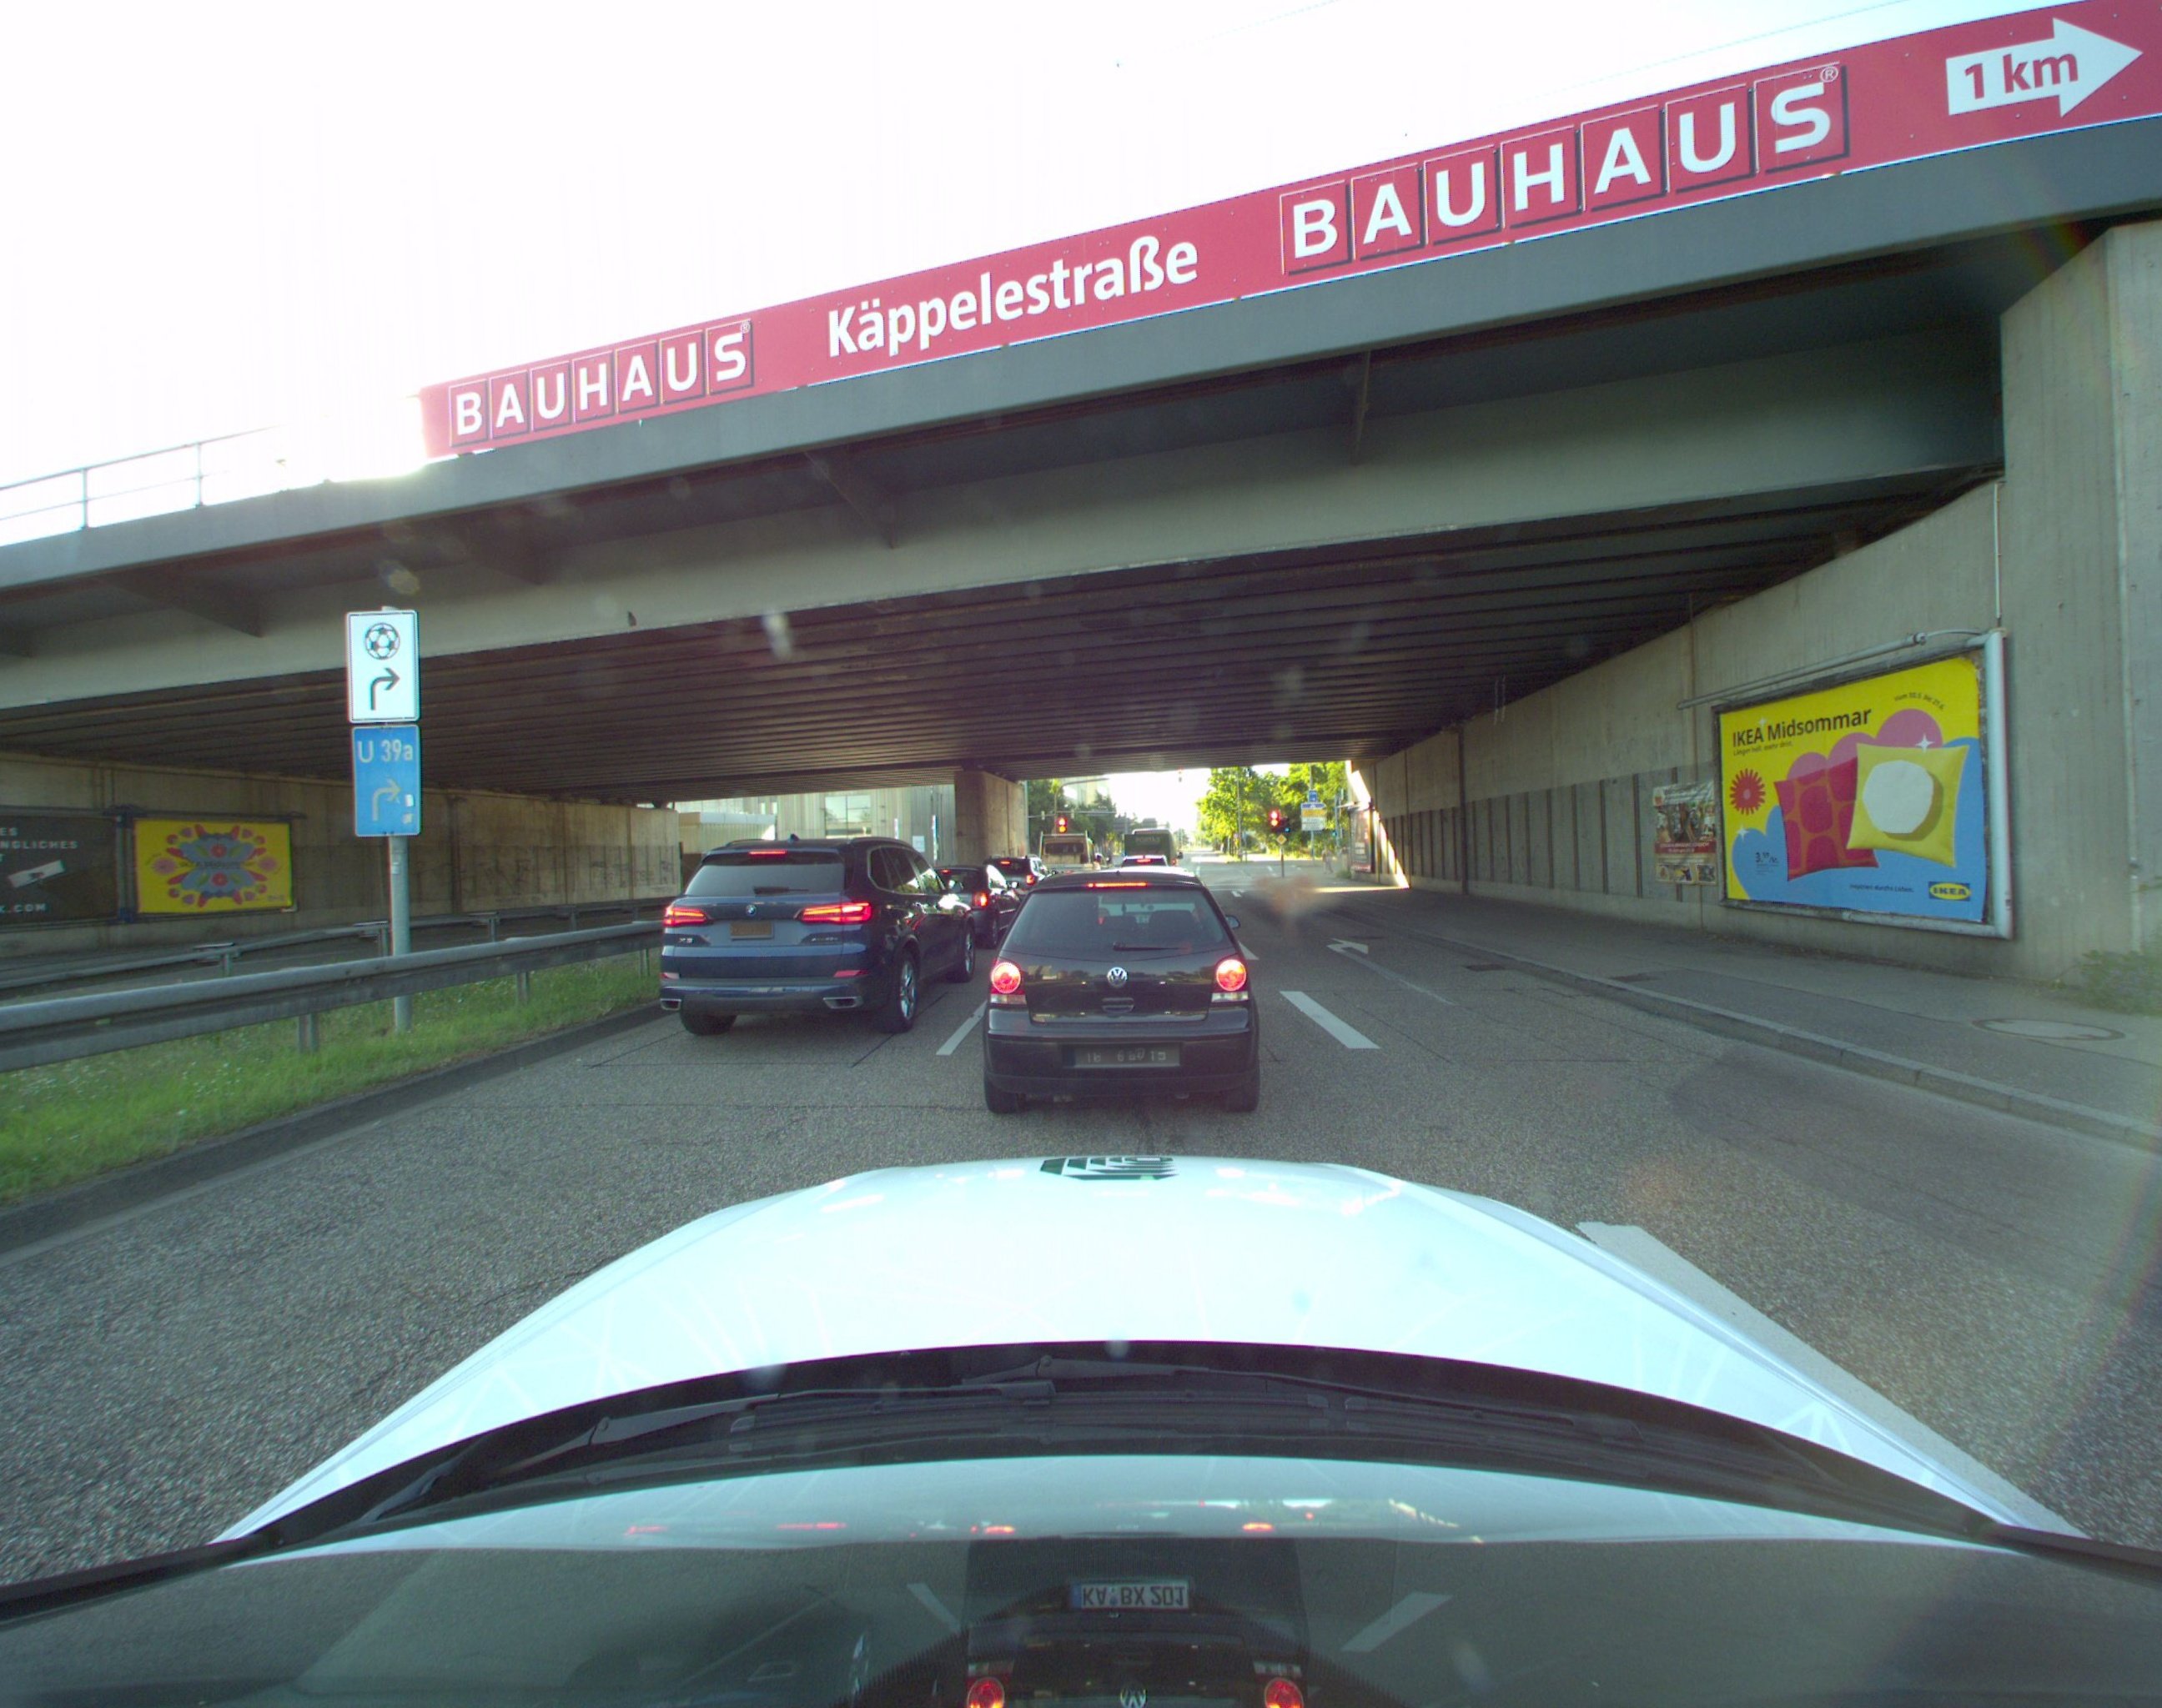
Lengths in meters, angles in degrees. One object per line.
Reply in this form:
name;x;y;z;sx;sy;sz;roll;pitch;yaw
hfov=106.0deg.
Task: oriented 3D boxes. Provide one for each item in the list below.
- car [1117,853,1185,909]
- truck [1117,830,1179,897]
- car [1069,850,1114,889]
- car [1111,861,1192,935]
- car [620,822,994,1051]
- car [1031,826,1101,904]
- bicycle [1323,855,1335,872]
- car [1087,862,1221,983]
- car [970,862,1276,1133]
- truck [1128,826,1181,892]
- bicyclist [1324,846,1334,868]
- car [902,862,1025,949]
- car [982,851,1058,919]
car;2.190;0.766;24.616;1.786;1.559;4.009;-1;-1;8
truck;2.562;0.335;30.331;1.984;2.315;4.009;-1;-1;8
car;0.536;0.701;37.910;1.608;1.679;3.691;0;-1;7
car;1.487;0.878;17.909;1.572;1.413;4.065;0;-1;3
car;-2.357;0.646;8.490;1.984;1.734;4.539;0;-1;6
car;-0.430;0.385;29.837;2.127;2.576;5.092;0;-1;4
bicycle;14.112;0.547;46.357;0.435;0.914;1.029;-3;-1;9
car;0.979;0.832;11.688;1.572;1.413;4.065;0;-1;3
car;0.226;0.772;6.149;1.611;1.410;3.682;0;-1;0
truck;3.228;0.225;35.017;1.984;2.668;4.009;-1;-1;8
bicyclist;14.101;0.187;46.383;0.425;1.233;0.461;-2;-1;8
car;-2.058;0.862;15.195;1.610;1.410;3.685;0;-1;2
car;-1.563;0.778;21.973;1.610;1.679;3.685;0;-1;2
